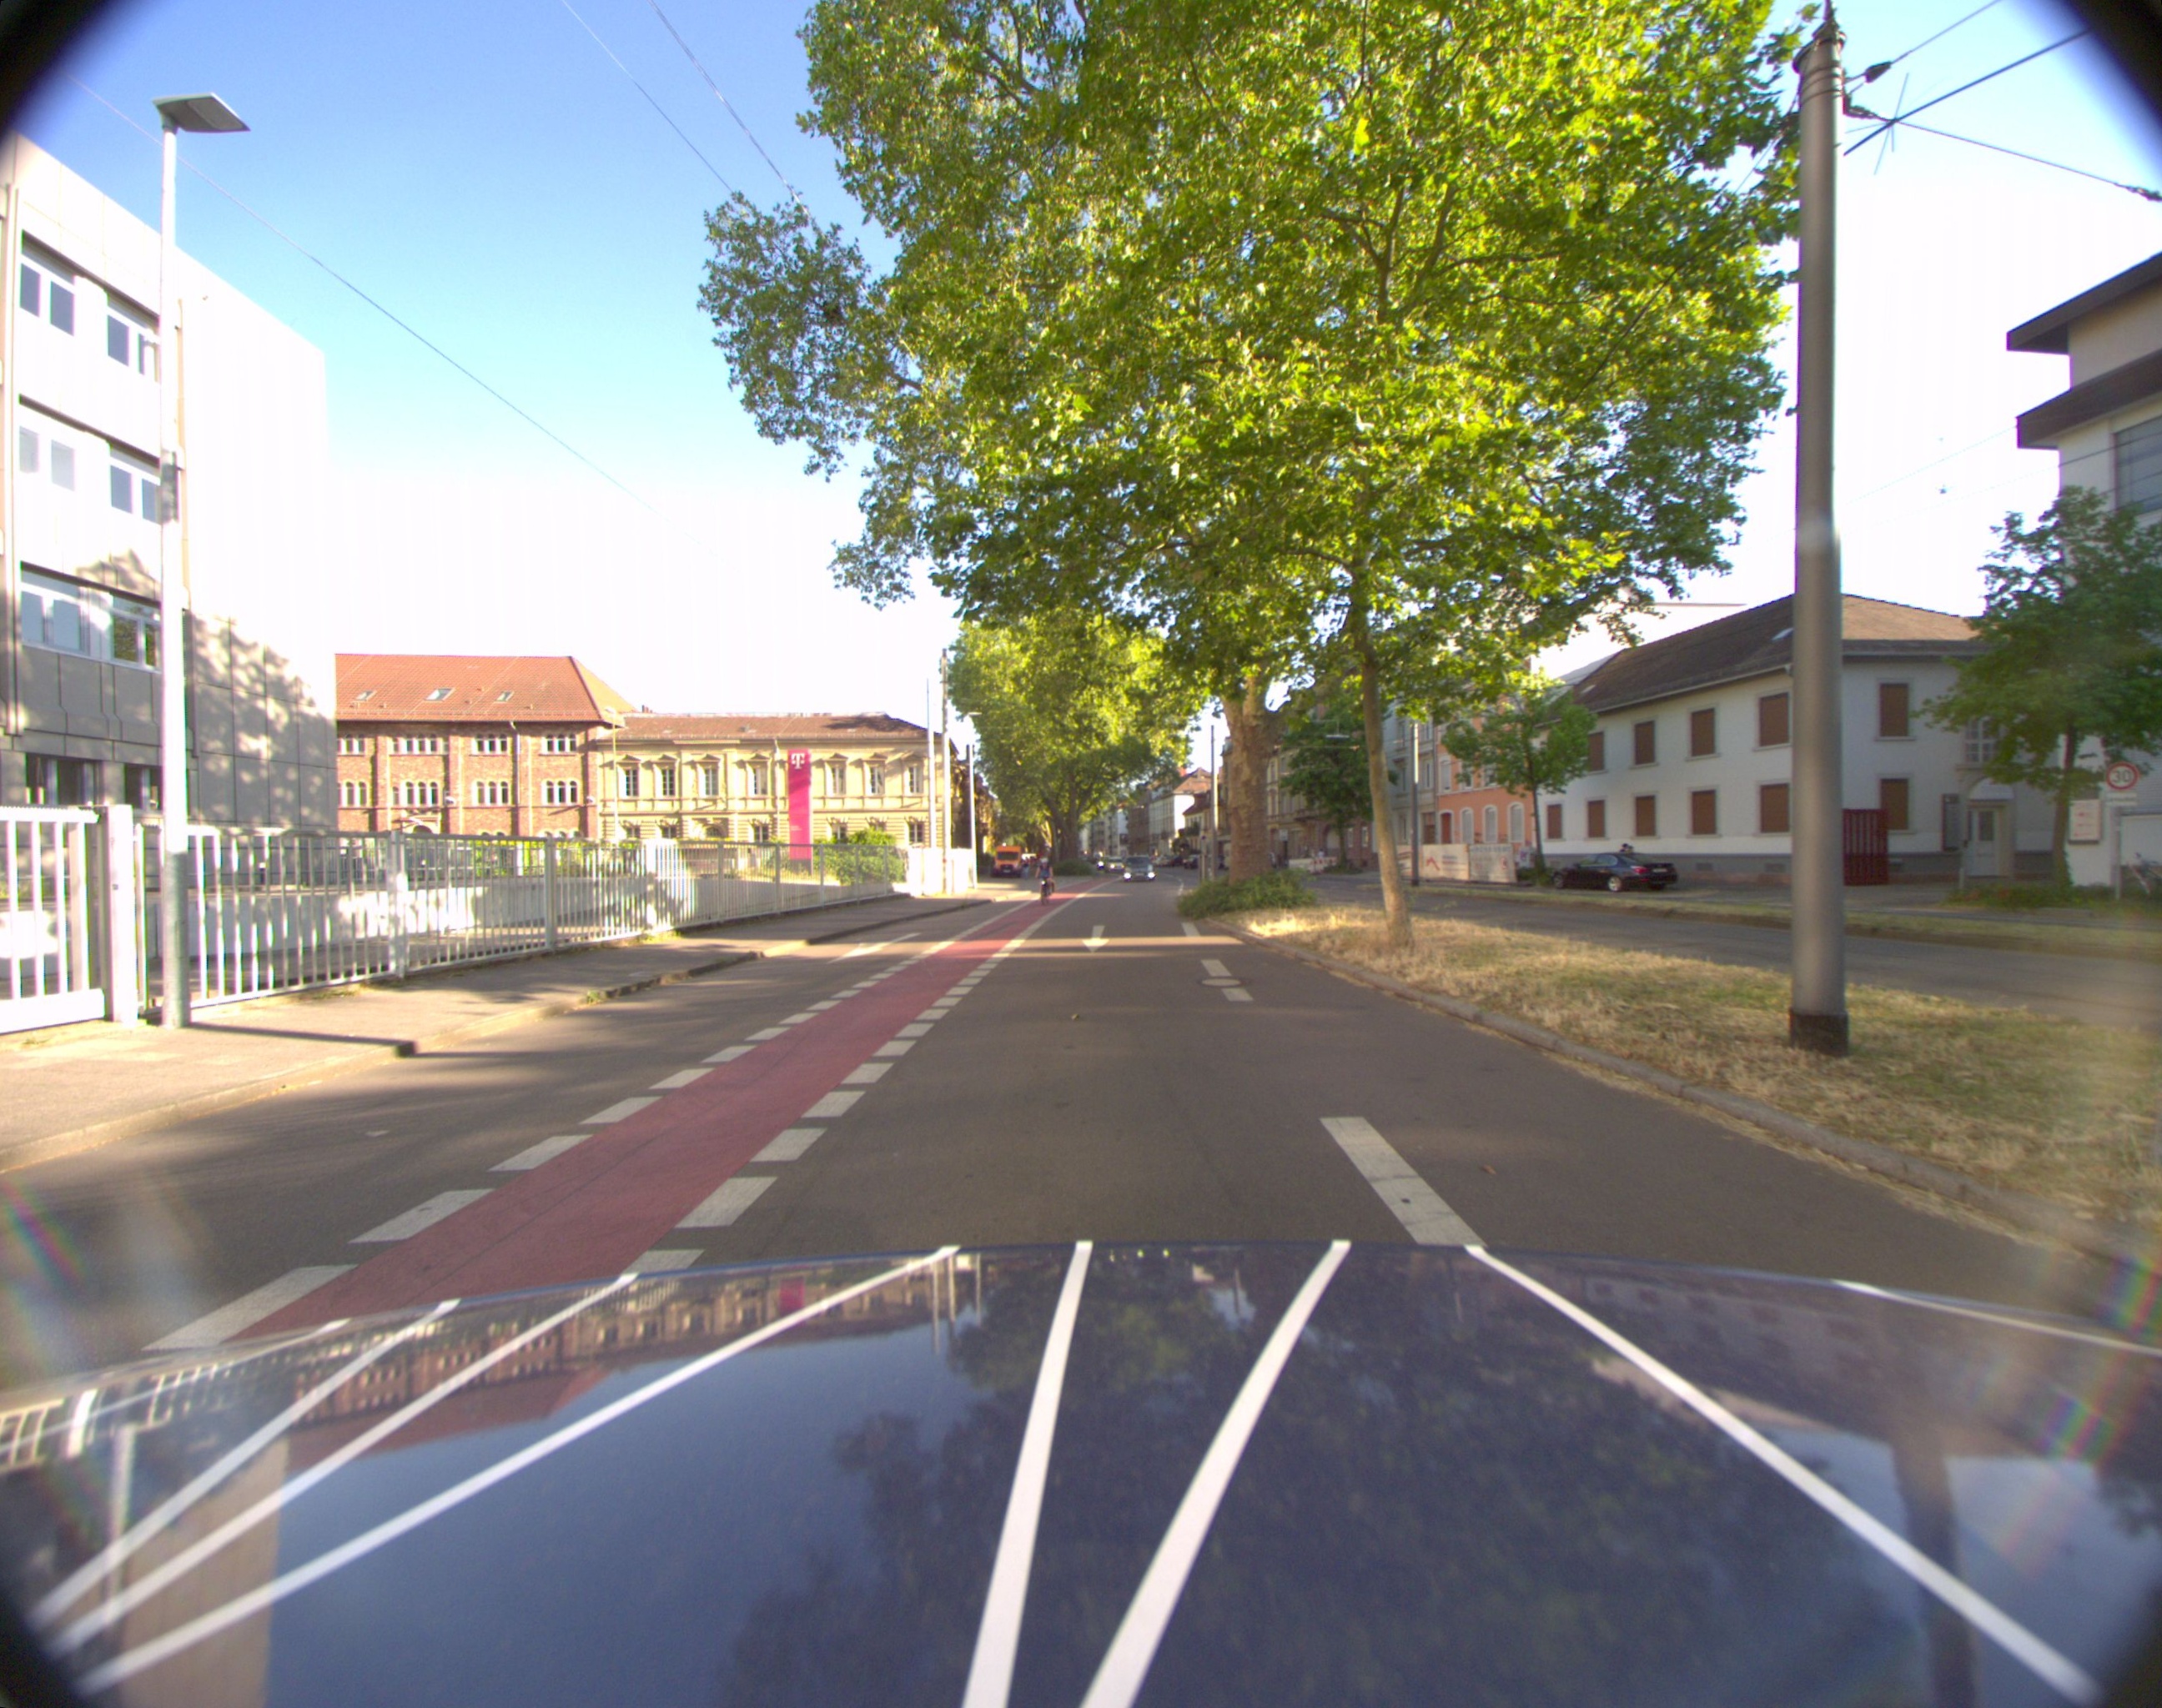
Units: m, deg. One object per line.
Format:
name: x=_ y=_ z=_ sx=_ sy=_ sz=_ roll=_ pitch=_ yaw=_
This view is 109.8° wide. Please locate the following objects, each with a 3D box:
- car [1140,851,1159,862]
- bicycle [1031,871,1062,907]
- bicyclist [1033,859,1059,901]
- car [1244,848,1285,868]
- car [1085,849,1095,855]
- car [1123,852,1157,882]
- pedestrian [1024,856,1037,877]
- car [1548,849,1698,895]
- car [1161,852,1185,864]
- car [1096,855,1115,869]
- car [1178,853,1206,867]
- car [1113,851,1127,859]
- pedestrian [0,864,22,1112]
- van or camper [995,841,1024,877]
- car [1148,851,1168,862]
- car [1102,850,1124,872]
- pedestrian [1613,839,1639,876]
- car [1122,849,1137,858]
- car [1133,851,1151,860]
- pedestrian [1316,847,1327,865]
car: x=10.801 y=0.344 z=120.793 sx=2.088 sy=1.531 sz=4.095 roll=-4 pitch=1 yaw=-7
bicycle: x=-1.196 y=1.211 z=26.842 sx=0.764 sy=1.137 sz=2.307 roll=-1 pitch=0 yaw=5
bicyclist: x=-1.218 y=0.919 z=26.716 sx=0.727 sy=1.414 sz=0.859 roll=-2 pitch=1 yaw=5
car: x=16.883 y=0.373 z=70.161 sx=2.088 sy=1.664 sz=4.530 roll=-4 pitch=1 yaw=-7
car: x=2.527 y=-0.681 z=218.650 sx=2.088 sy=1.531 sz=4.124 roll=-4 pitch=1 yaw=-7
car: x=3.768 y=0.781 z=47.678 sx=1.907 sy=1.634 sz=4.518 roll=-3 pitch=1 yaw=6
pedestrian: x=-3.656 y=0.886 z=55.246 sx=0.899 sy=1.464 sz=0.810 roll=-1 pitch=1 yaw=0
car: x=20.521 y=0.625 z=29.049 sx=2.088 sy=1.462 sz=4.576 roll=-4 pitch=1 yaw=-7
car: x=12.748 y=0.486 z=105.993 sx=2.088 sy=1.531 sz=5.101 roll=-4 pitch=1 yaw=-7
car: x=2.638 y=0.867 z=82.317 sx=1.998 sy=1.376 sz=4.000 roll=-2 pitch=1 yaw=2
car: x=13.525 y=0.704 z=92.918 sx=2.088 sy=1.531 sz=4.513 roll=-4 pitch=1 yaw=-7
car: x=7.935 y=0.210 z=156.227 sx=2.088 sy=1.531 sz=4.117 roll=-4 pitch=1 yaw=-7
pedestrian: x=-7.952 y=0.950 z=5.085 sx=0.592 sy=1.752 sz=0.770 roll=-1 pitch=1 yaw=1
van or camper: x=-5.455 y=0.359 z=58.700 sx=1.999 sy=2.578 sz=5.623 roll=-2 pitch=1 yaw=-4
car: x=11.597 y=0.380 z=114.872 sx=2.088 sy=1.531 sz=4.036 roll=-4 pitch=1 yaw=-7
car: x=3.107 y=0.633 z=73.887 sx=1.998 sy=2.002 sz=4.000 roll=-2 pitch=1 yaw=2
pedestrian: x=22.722 y=0.125 z=31.694 sx=0.537 sy=1.519 sz=0.711 roll=-1 pitch=1 yaw=-11
car: x=9.002 y=-0.028 z=140.913 sx=2.088 sy=1.531 sz=4.006 roll=-4 pitch=1 yaw=-7
car: x=10.472 y=0.264 z=130.702 sx=2.088 sy=1.531 sz=4.253 roll=-4 pitch=1 yaw=-7
pedestrian: x=20.604 y=0.143 z=65.078 sx=0.641 sy=1.519 sz=0.615 roll=-1 pitch=1 yaw=-7
